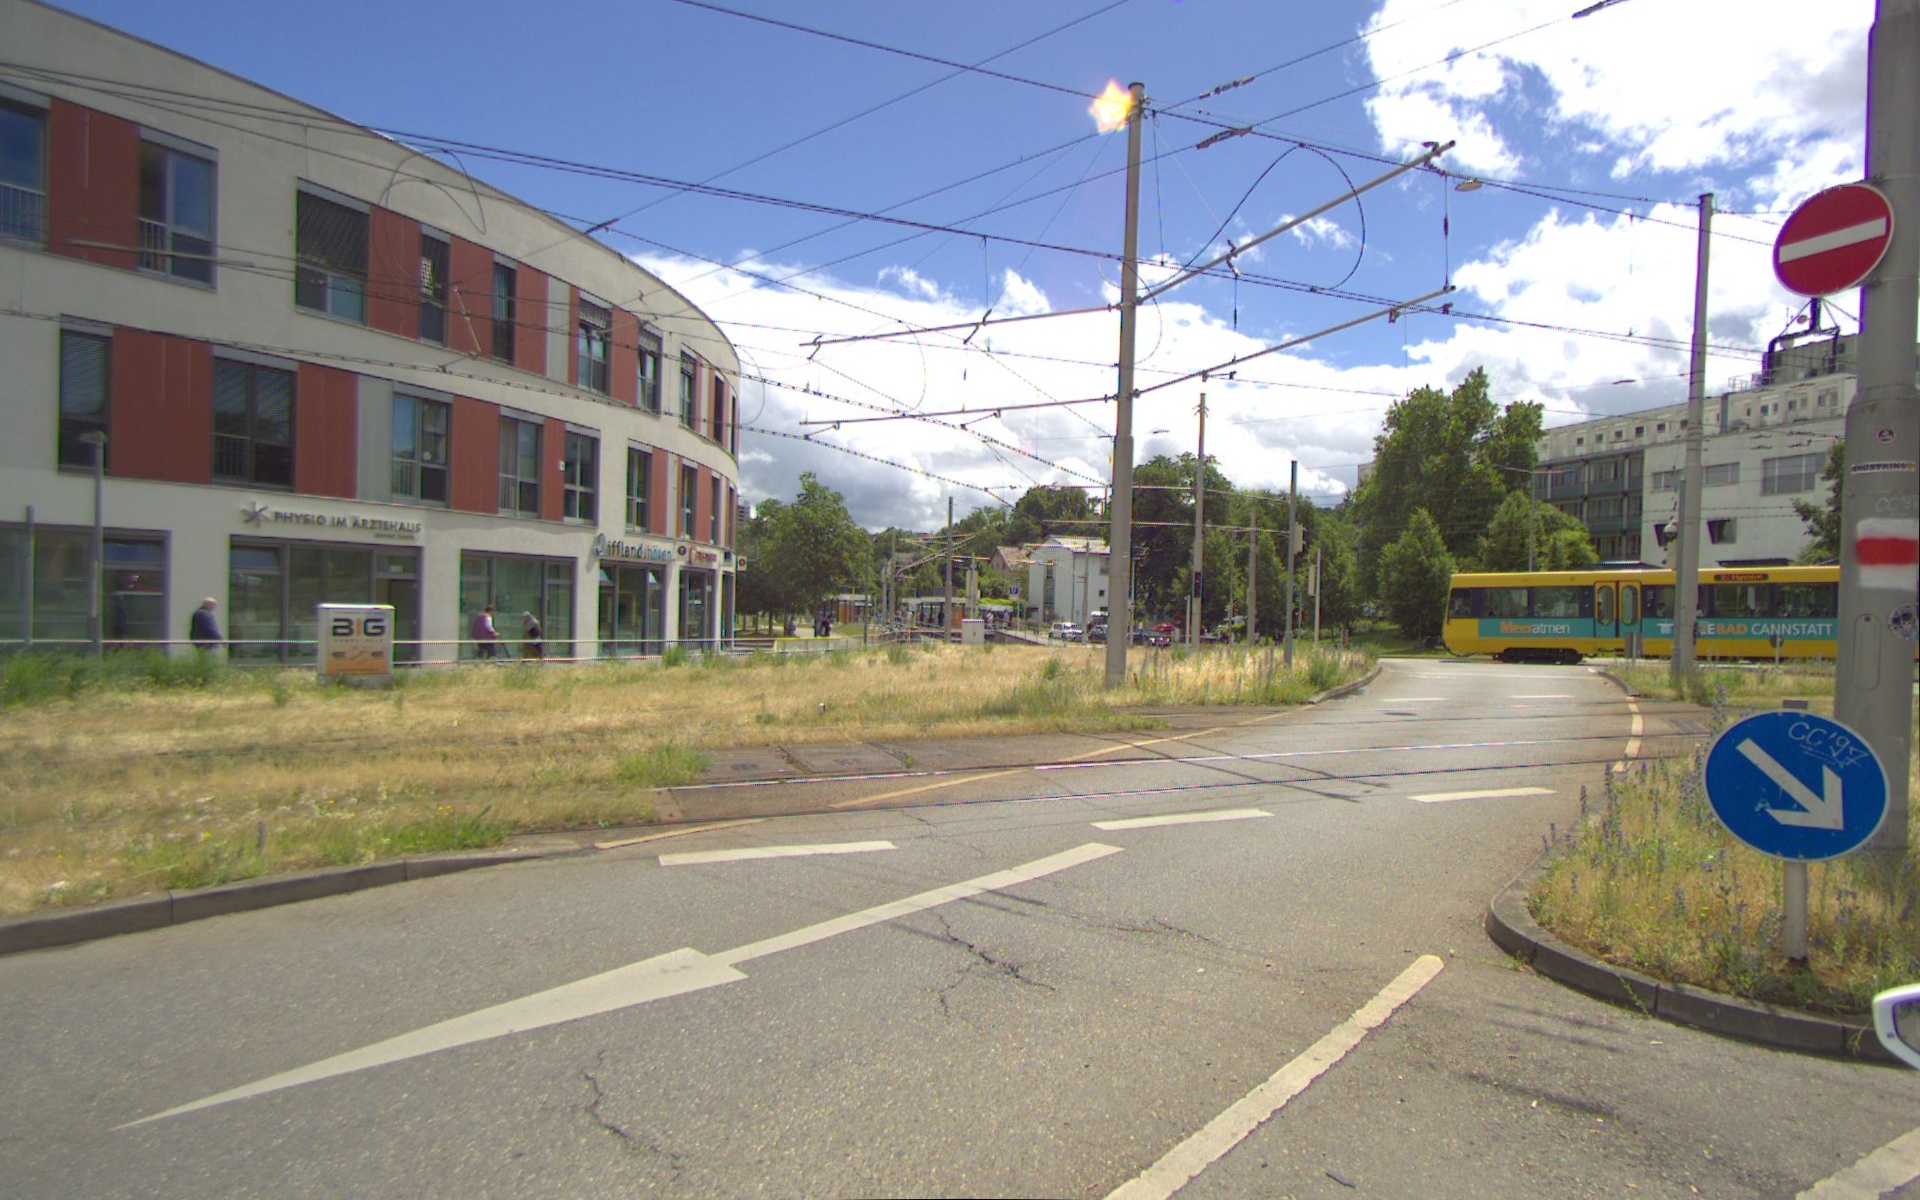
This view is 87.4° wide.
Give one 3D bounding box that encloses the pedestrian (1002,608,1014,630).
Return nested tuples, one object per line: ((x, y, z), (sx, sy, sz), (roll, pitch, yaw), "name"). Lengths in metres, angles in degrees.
((3.853, 1.531, 80.062), (0.824, 1.714, 0.616), (0, 0, -15), "pedestrian")

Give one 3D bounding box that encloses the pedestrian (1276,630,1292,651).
((24.751, 3.091, 76.723), (0.830, 1.597, 0.811), (0, 0, -24), "pedestrian")

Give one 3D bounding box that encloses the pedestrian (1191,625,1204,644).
((20.450, 2.979, 86.487), (0.830, 1.597, 0.811), (0, 0, -24), "pedestrian")

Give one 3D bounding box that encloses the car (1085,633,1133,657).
((10.975, 3.319, 74.316), (1.888, 1.672, 4.239), (1, -2, -18), "car")

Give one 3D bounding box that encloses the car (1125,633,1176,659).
((14.056, 3.371, 74.285), (1.991, 1.814, 4.223), (1, -2, -18), "car")

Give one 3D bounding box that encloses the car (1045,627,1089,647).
((8.578, 2.965, 80.673), (1.908, 1.575, 4.475), (1, -2, -17), "car")

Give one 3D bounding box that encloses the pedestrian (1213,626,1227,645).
((21.705, 2.947, 83.946), (0.830, 1.597, 0.811), (0, 0, -24), "pedestrian")

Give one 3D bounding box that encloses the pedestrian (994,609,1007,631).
((3.263, 1.647, 81.440), (0.824, 1.755, 0.796), (0, -1, -15), "pedestrian")

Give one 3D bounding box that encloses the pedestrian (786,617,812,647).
((-9.104, 1.802, 56.802), (1.017, 1.646, 0.983), (0, -2, 29), "pedestrian")

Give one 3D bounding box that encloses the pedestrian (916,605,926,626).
((-3.860, 1.575, 99.312), (0.806, 2.040, 0.771), (1, -2, -14), "pedestrian")

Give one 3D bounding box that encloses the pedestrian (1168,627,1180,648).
((19.968, 3.520, 93.935), (0.818, 1.891, 0.818), (0, -1, -15), "pedestrian")

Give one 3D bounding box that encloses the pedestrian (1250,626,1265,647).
((23.788, 2.912, 80.198), (0.830, 1.597, 0.811), (0, 0, -24), "pedestrian")

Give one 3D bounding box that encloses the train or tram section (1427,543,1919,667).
((27.328, 0.232, 36.405), (18.565, 3.970, 3.754), (0, -2, 31), "train or tram section")

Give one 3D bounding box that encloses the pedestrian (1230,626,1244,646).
((22.753, 2.970, 82.502), (0.830, 1.597, 0.811), (0, 0, -24), "pedestrian")

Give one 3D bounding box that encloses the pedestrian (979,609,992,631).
((2.100, 1.639, 82.166), (0.824, 1.777, 0.796), (0, 0, -15), "pedestrian")

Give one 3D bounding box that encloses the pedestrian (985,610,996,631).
((2.528, 1.705, 82.892), (0.744, 1.707, 0.671), (0, 0, -15), "pedestrian")

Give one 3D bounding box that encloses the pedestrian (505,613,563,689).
((-11.611, 1.379, 27.385), (0.849, 1.994, 1.114), (0, -2, 29), "pedestrian")

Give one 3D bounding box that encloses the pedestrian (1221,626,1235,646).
((22.475, 3.023, 84.315), (0.830, 1.597, 0.811), (0, 0, -24), "pedestrian")

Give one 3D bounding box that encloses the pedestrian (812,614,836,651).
((-6.158, 1.486, 45.475), (0.847, 1.646, 0.733), (1, -1, 8), "pedestrian")

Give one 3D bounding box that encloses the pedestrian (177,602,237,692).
((-13.774, 0.844, 18.387), (0.723, 1.601, 0.689), (0, -1, 36), "pedestrian")

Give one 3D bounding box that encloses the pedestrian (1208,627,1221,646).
((22.090, 3.141, 87.210), (0.830, 1.597, 0.811), (0, 0, -24), "pedestrian")

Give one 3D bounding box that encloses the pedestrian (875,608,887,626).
((-9.243, 1.965, 117.430), (1.240, 2.040, 1.121), (1, -2, -18), "pedestrian")

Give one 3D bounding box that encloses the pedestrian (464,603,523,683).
((-11.953, 1.099, 25.766), (0.847, 1.994, 1.107), (1, -2, 10), "pedestrian")

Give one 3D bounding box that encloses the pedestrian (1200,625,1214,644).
((21.337, 3.006, 86.848), (0.830, 1.597, 0.811), (0, 0, -24), "pedestrian")

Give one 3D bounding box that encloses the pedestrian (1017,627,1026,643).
((7.203, 4.075, 118.062), (0.818, 1.891, 0.818), (0, -1, -15), "pedestrian")

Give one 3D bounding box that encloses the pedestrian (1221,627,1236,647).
((22.002, 3.044, 82.331), (0.830, 1.597, 0.811), (0, 0, -24), "pedestrian")

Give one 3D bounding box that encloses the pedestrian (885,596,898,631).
((-11.935, 2.372, 173.833), (1.963, 5.998, 2.369), (1, -1, -8), "pedestrian")
